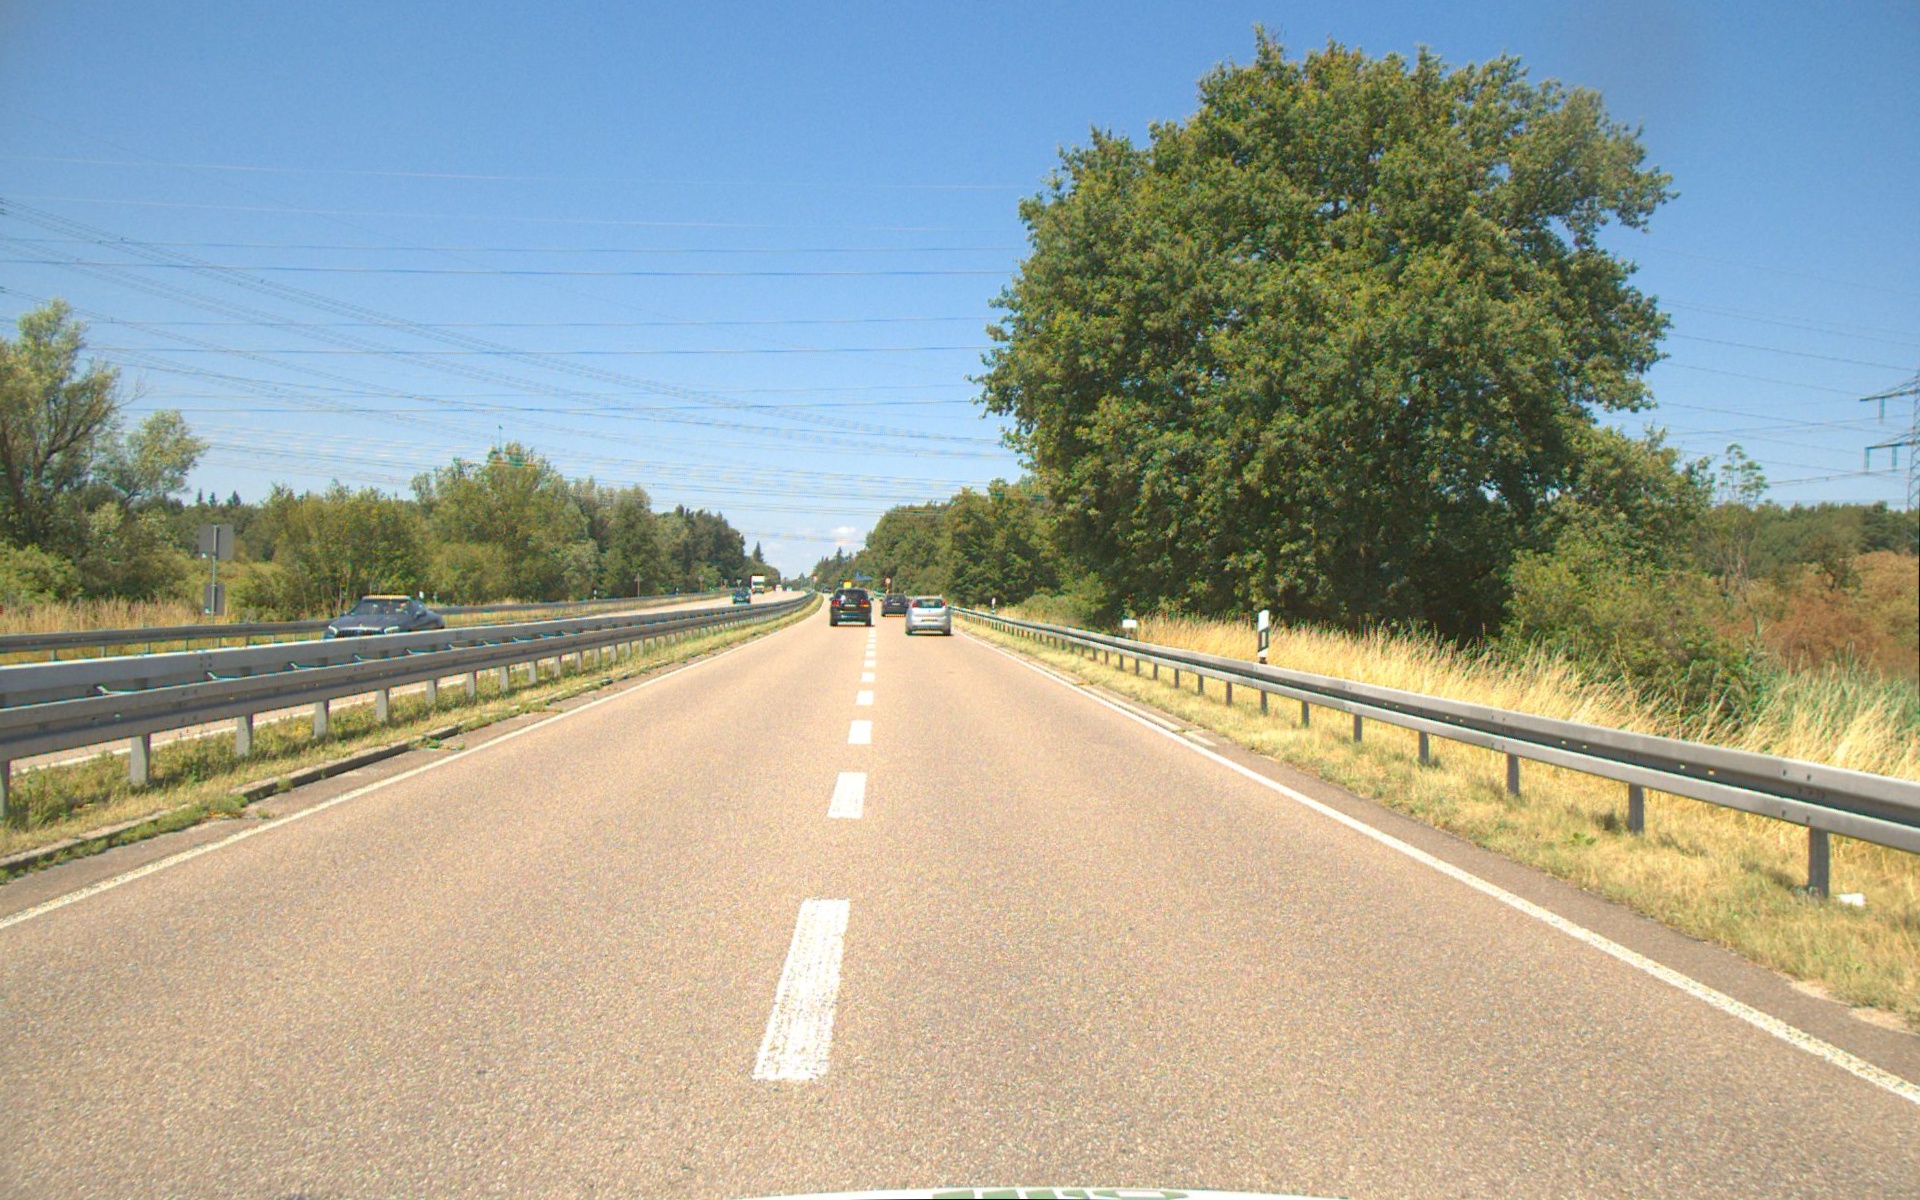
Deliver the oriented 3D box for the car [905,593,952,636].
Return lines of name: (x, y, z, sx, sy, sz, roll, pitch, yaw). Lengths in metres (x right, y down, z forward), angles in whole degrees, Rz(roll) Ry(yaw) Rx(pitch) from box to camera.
car: (-1.230, 0.534, 62.938, 1.608, 1.493, 3.417, 3, 0, -3)

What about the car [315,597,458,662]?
car: (-13.537, 0.651, 39.341, 1.885, 1.409, 4.656, 0, 0, -2)

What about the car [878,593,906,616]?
car: (-4.307, 0.298, 105.060, 1.607, 1.366, 3.573, 3, 0, -1)

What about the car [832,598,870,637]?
car: (-5.052, 0.786, 76.996, 1.608, 1.682, 3.572, 3, 0, -3)

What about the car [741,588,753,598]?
car: (-31.271, -0.991, 242.834, 1.502, 1.475, 3.698, 0, 0, -4)

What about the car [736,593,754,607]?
car: (-22.553, 0.007, 173.631, 1.809, 1.437, 4.675, 0, 0, -6)
